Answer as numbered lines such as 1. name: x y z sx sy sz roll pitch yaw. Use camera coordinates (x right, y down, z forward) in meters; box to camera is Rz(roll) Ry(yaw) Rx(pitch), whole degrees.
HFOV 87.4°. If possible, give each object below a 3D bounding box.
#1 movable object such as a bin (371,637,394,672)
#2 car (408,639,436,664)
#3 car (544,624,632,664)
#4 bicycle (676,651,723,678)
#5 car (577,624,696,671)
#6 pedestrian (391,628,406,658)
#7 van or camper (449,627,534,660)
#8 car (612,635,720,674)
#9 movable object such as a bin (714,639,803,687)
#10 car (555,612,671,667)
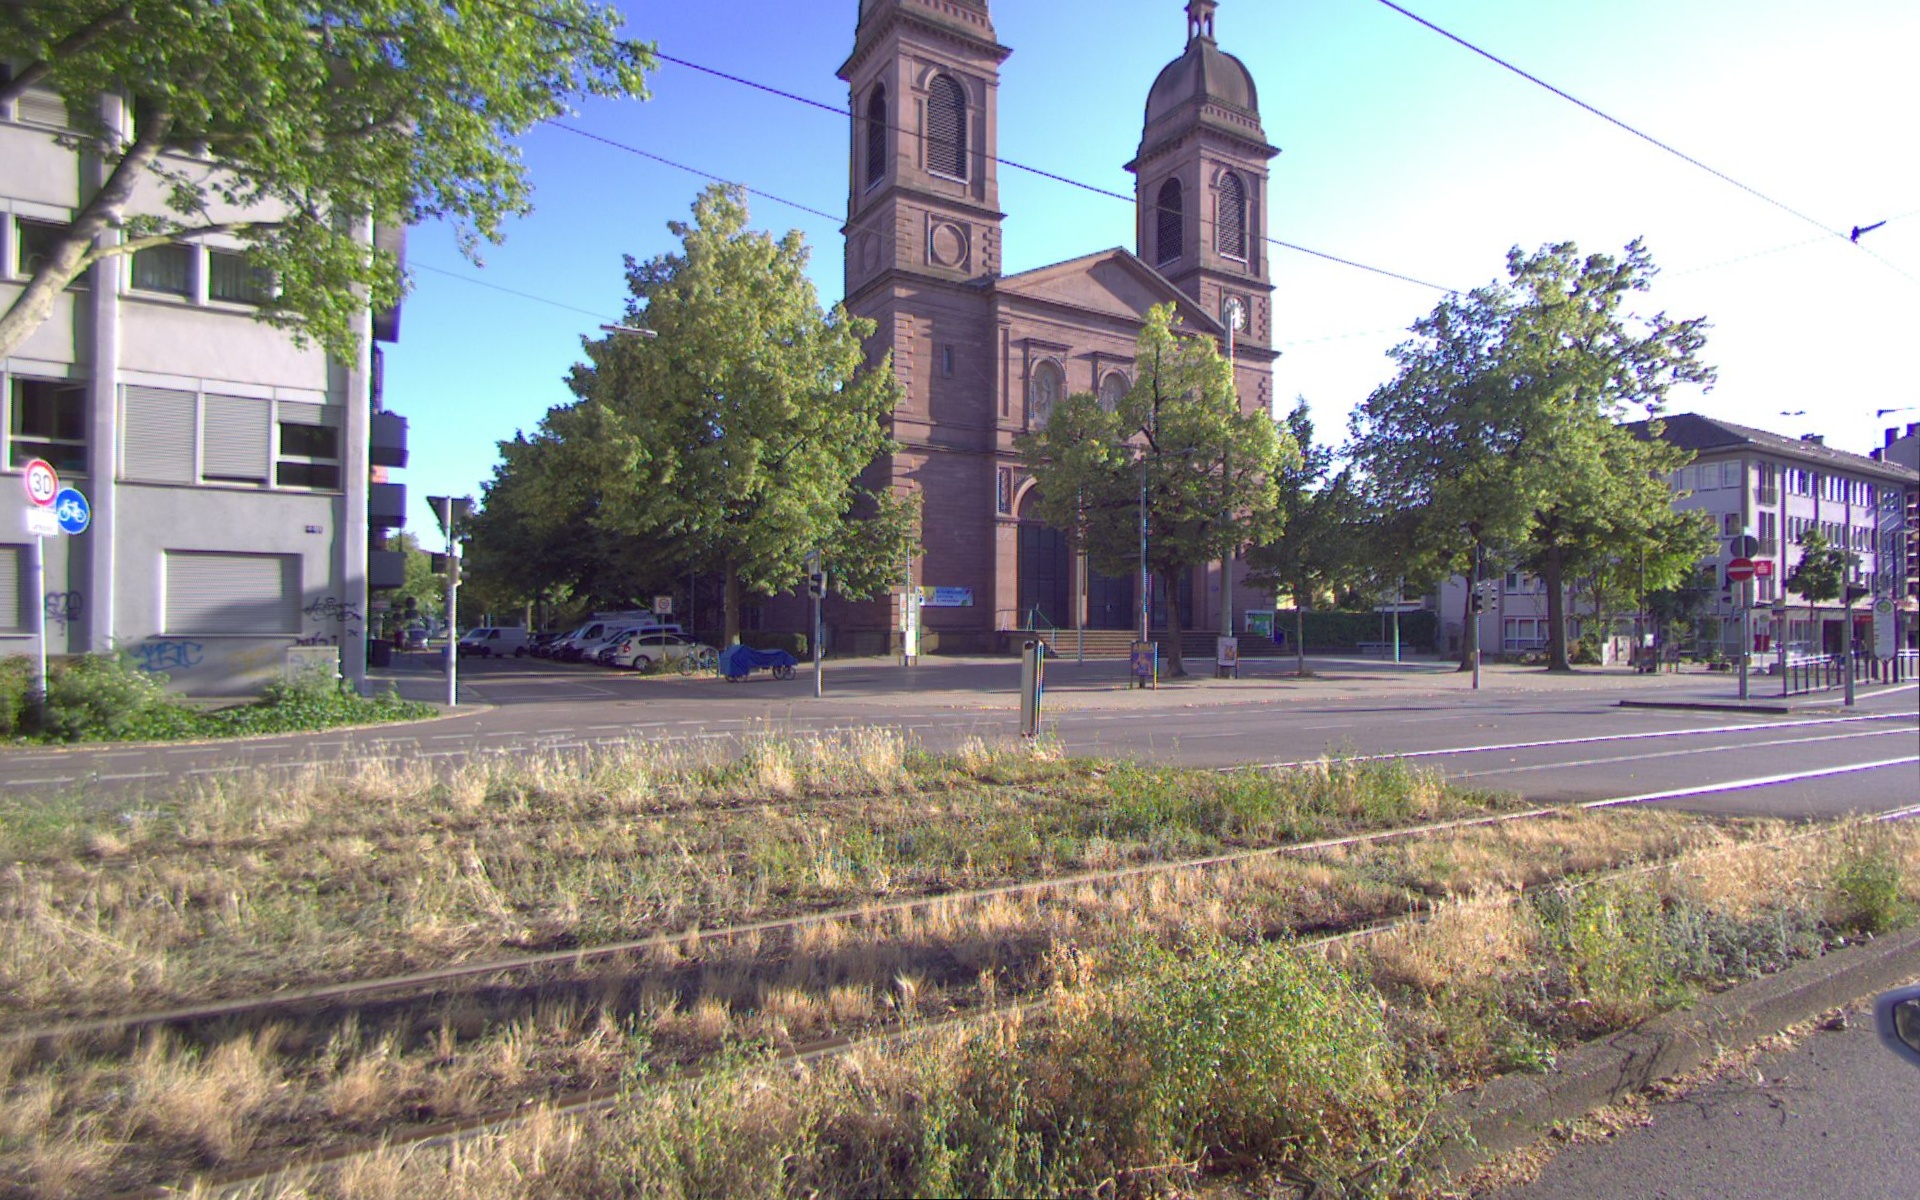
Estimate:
1. movable object such as a bin: -22.309 2.099 38.801 0.737 1.323 0.865 1 -2 -32
2. car: -45.780 4.335 85.461 1.976 2.040 3.970 1 -2 -29
3. car: -20.431 2.403 55.261 4.174 2.040 1.981 2 0 -34
4. bicycle: -9.068 2.235 34.957 1.517 0.904 0.465 2 0 -27
5. car: -15.529 2.268 48.311 5.121 2.040 1.981 2 0 -34
6. pedestrian: -33.588 2.573 60.089 0.683 1.774 0.636 2 -2 -39
7. van or camper: -30.080 2.783 64.660 1.960 2.040 5.137 0 -2 17
8. car: -12.233 2.259 41.817 3.953 1.479 1.984 2 0 -30
9. movable object such as a bin: -6.159 1.898 30.708 2.416 1.228 1.102 -3 2 -30
10. car: -18.302 2.058 53.104 5.382 2.710 1.980 2 0 -36
